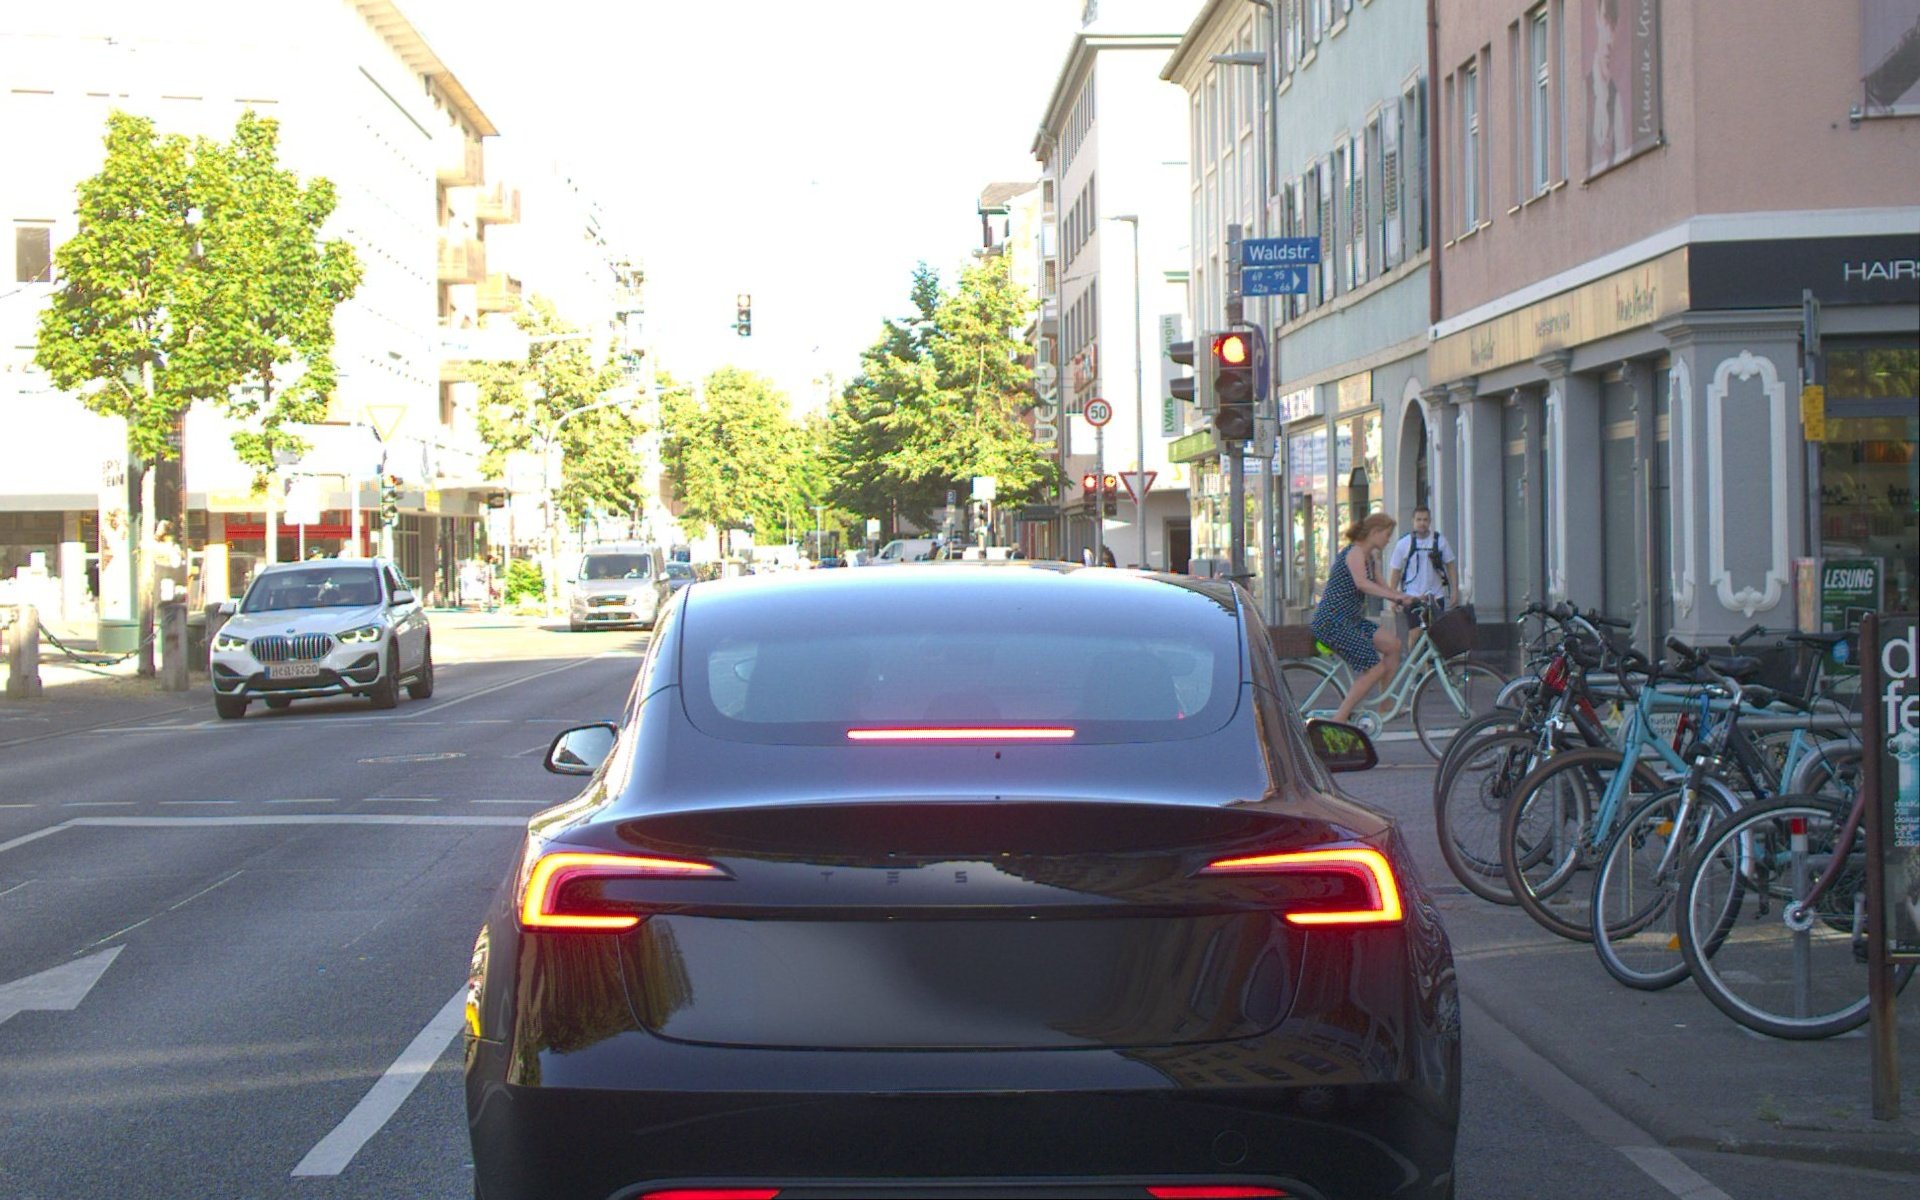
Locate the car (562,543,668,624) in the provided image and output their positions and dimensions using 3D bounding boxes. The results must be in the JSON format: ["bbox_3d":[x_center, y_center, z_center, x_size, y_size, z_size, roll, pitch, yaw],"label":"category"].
[{"bbox_3d":[-7.117,-0.365,71.231,1.787,1.640,4.403,0,1,-1],"label":"car"}]

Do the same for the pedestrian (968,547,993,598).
[{"bbox_3d":[0.572,-0.766,95.799,0.472,1.412,0.522,1,0,-31],"label":"pedestrian"}]

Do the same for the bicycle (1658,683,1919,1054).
[{"bbox_3d":[3.010,0.757,9.974,1.873,1.034,0.353,-2,0,6],"label":"bicycle"}]

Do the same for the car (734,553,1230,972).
[{"bbox_3d":[0.009,0.537,13.791,1.718,1.420,3.758,0,1,-2],"label":"car"}]

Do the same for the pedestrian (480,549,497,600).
[{"bbox_3d":[-13.547,-0.725,98.772,0.459,1.455,0.518,0,1,-5],"label":"pedestrian"}]

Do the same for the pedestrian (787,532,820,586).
[{"bbox_3d":[-4.884,-1.282,107.344,0.715,1.689,0.851,0,1,-28],"label":"pedestrian"}]

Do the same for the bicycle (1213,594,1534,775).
[{"bbox_3d":[2.641,0.521,21.930,1.935,1.114,0.708,0,0,18],"label":"bicycle"}]

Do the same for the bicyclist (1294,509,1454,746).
[{"bbox_3d":[2.643,0.165,21.925,0.891,1.477,0.701,0,1,18],"label":"bicyclist"}]

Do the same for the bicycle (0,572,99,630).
[{"bbox_3d":[-20.790,0.019,78.030,2.361,1.291,0.513,1,0,-26],"label":"bicycle"}]

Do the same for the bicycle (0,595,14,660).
[{"bbox_3d":[-14.749,0.392,49.912,1.864,0.931,0.606,1,0,-1],"label":"bicycle"}]

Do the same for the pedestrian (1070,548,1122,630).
[{"bbox_3d":[2.739,-0.224,69.317,0.754,1.626,0.956,1,0,-18],"label":"pedestrian"}]

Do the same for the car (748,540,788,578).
[{"bbox_3d":[-10.426,-2.239,187.038,1.993,2.007,4.000,1,1,-1],"label":"car"}]

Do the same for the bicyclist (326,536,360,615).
[{"bbox_3d":[-11.858,-0.470,66.074,0.522,1.498,0.476,1,0,-23],"label":"bicyclist"}]

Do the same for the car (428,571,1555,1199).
[{"bbox_3d":[0.029,0.659,7.563,1.822,1.437,4.000,0,1,-1],"label":"car"}]

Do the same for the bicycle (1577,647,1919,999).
[{"bbox_3d":[2.991,0.704,11.164,1.873,1.084,0.414,-2,0,4],"label":"bicycle"}]

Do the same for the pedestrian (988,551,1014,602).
[{"bbox_3d":[1.137,-0.652,95.055,0.521,1.417,0.479,1,0,-30],"label":"pedestrian"}]

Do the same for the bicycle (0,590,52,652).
[{"bbox_3d":[-14.808,0.319,52.220,1.864,0.931,0.606,0,1,-1],"label":"bicycle"}]

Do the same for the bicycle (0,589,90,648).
[{"bbox_3d":[-14.835,0.294,54.668,1.864,0.931,0.606,0,1,-1],"label":"bicycle"}]

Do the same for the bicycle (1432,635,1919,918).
[{"bbox_3d":[2.842,0.690,13.603,1.873,1.034,0.547,-2,0,5],"label":"bicycle"}]

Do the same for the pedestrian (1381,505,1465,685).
[{"bbox_3d":[4.615,-0.053,34.308,0.750,1.759,0.836,-1,0,4],"label":"pedestrian"}]

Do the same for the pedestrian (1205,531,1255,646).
[{"bbox_3d":[4.096,-0.180,52.134,0.706,1.736,0.540,0,0,-1],"label":"pedestrian"}]

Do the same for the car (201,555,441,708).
[{"bbox_3d":[-6.653,0.293,36.166,1.789,1.455,3.757,-2,1,0],"label":"car"}]

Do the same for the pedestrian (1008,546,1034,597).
[{"bbox_3d":[1.702,-0.797,95.859,0.521,1.417,0.479,1,0,-30],"label":"pedestrian"}]

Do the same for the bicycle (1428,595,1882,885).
[{"bbox_3d":[2.961,0.594,14.757,1.828,1.165,0.505,-2,0,5],"label":"bicycle"}]

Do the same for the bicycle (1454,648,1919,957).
[{"bbox_3d":[2.773,0.722,12.459,1.873,1.034,0.533,-2,0,4],"label":"bicycle"}]
